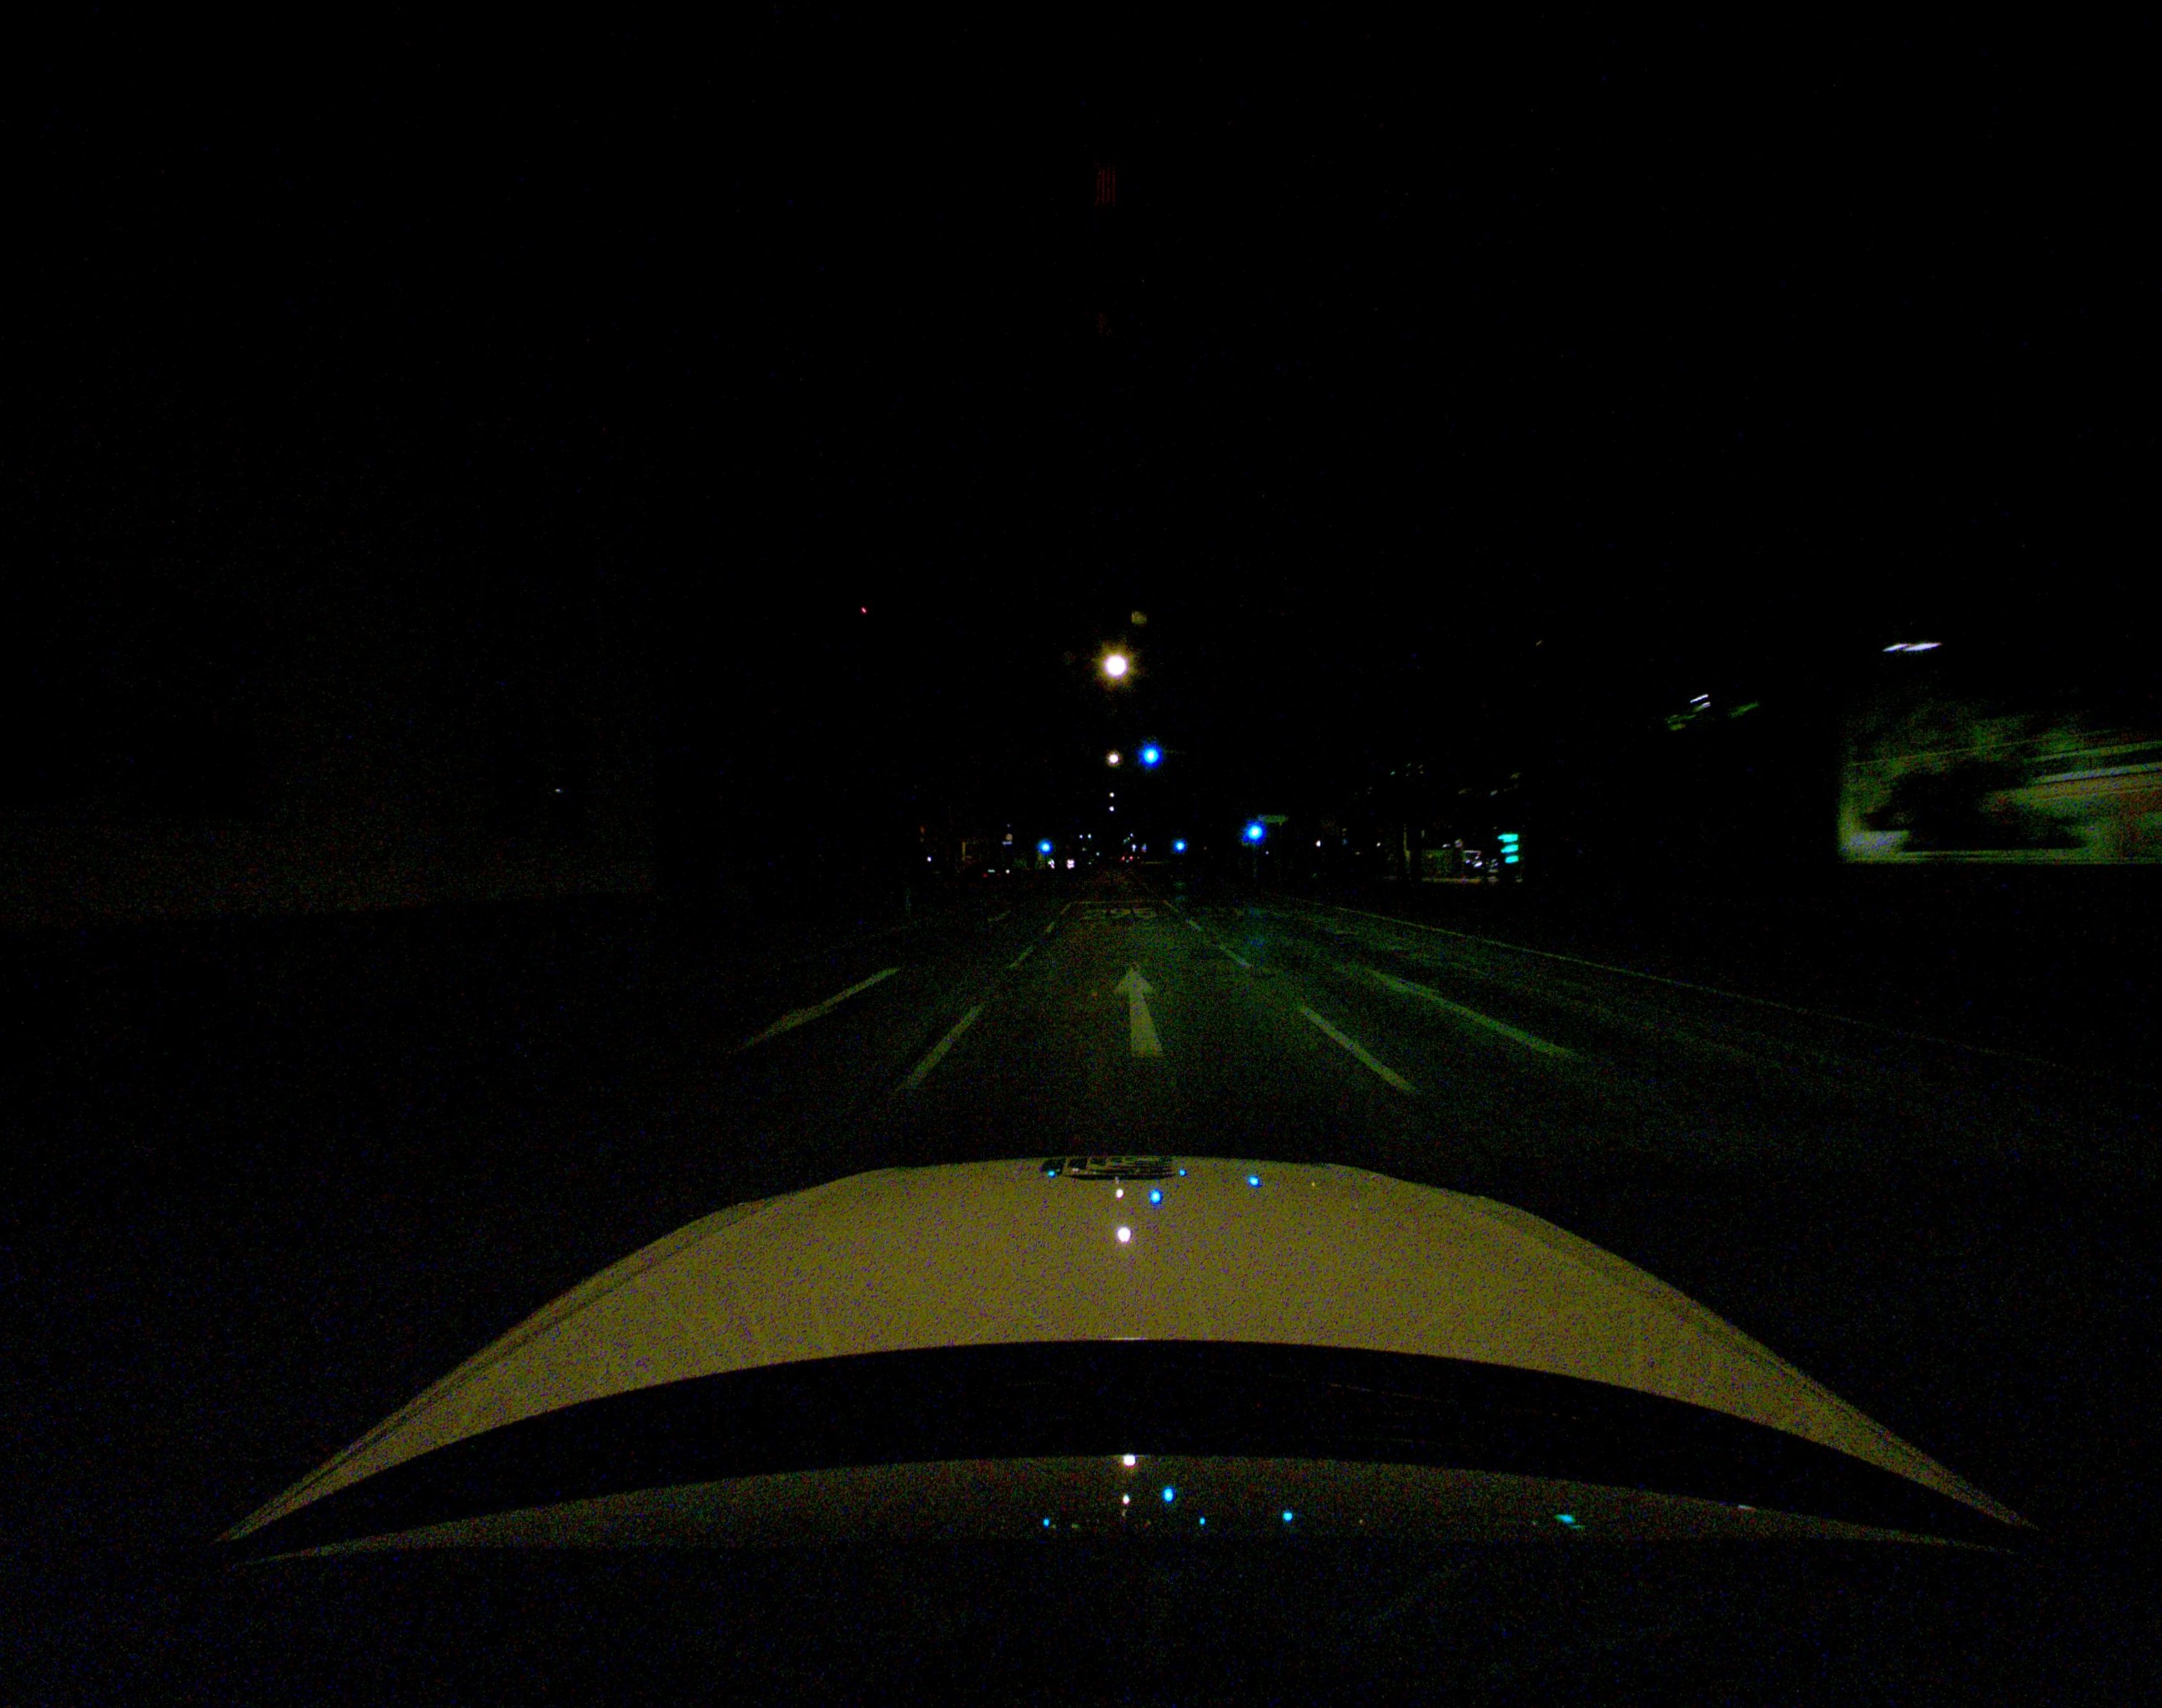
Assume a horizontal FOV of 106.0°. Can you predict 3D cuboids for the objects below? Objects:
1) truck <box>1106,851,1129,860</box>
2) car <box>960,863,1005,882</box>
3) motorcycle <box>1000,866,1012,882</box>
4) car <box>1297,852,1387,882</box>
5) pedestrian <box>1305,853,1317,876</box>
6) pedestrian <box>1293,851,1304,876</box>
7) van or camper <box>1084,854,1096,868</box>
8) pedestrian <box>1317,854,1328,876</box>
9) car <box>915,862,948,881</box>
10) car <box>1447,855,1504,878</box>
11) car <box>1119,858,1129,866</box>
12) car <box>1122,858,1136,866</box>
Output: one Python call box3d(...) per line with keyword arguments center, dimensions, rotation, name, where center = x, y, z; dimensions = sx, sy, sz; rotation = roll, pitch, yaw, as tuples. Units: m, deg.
box3d(center=(11.071, 0.481, 247.495), dimensions=(6.757, 2.844, 1.999), rotation=(0, -1, -1), name="truck")
box3d(center=(-7.872, 1.475, 64.724), dimensions=(1.898, 1.424, 4.684), rotation=(-1, -1, -29), name="car")
box3d(center=(-5.647, 1.475, 61.446), dimensions=(0.573, 1.180, 2.021), rotation=(-1, -1, -15), name="motorcycle")
box3d(center=(13.508, 0.675, 42.315), dimensions=(4.067, 1.454, 1.787), rotation=(-1, -1, 1), name="car")
box3d(center=(16.845, 0.772, 59.642), dimensions=(0.619, 1.639, 0.679), rotation=(-1, -1, 2), name="pedestrian")
box3d(center=(15.999, 0.706, 60.004), dimensions=(0.619, 1.811, 0.759), rotation=(-1, -1, 2), name="pedestrian")
box3d(center=(1.754, 1.393, 159.590), dimensions=(2.150, 2.535, 6.228), rotation=(-3, -1, 2), name="van or camper")
box3d(center=(17.429, 0.806, 58.830), dimensions=(0.570, 1.533, 0.634), rotation=(-1, -1, 2), name="pedestrian")
box3d(center=(-13.566, 1.553, 73.625), dimensions=(1.923, 1.644, 4.075), rotation=(2, -2, -26), name="car")
box3d(center=(21.281, 0.702, 44.090), dimensions=(1.452, 1.168, 3.540), rotation=(0, -1, 1), name="car")
box3d(center=(8.954, 1.710, 169.939), dimensions=(1.876, 1.603, 4.111), rotation=(-3, -1, 4), name="car")
box3d(center=(9.070, 1.514, 154.058), dimensions=(1.650, 1.342, 3.642), rotation=(-2, -1, 18), name="car")
